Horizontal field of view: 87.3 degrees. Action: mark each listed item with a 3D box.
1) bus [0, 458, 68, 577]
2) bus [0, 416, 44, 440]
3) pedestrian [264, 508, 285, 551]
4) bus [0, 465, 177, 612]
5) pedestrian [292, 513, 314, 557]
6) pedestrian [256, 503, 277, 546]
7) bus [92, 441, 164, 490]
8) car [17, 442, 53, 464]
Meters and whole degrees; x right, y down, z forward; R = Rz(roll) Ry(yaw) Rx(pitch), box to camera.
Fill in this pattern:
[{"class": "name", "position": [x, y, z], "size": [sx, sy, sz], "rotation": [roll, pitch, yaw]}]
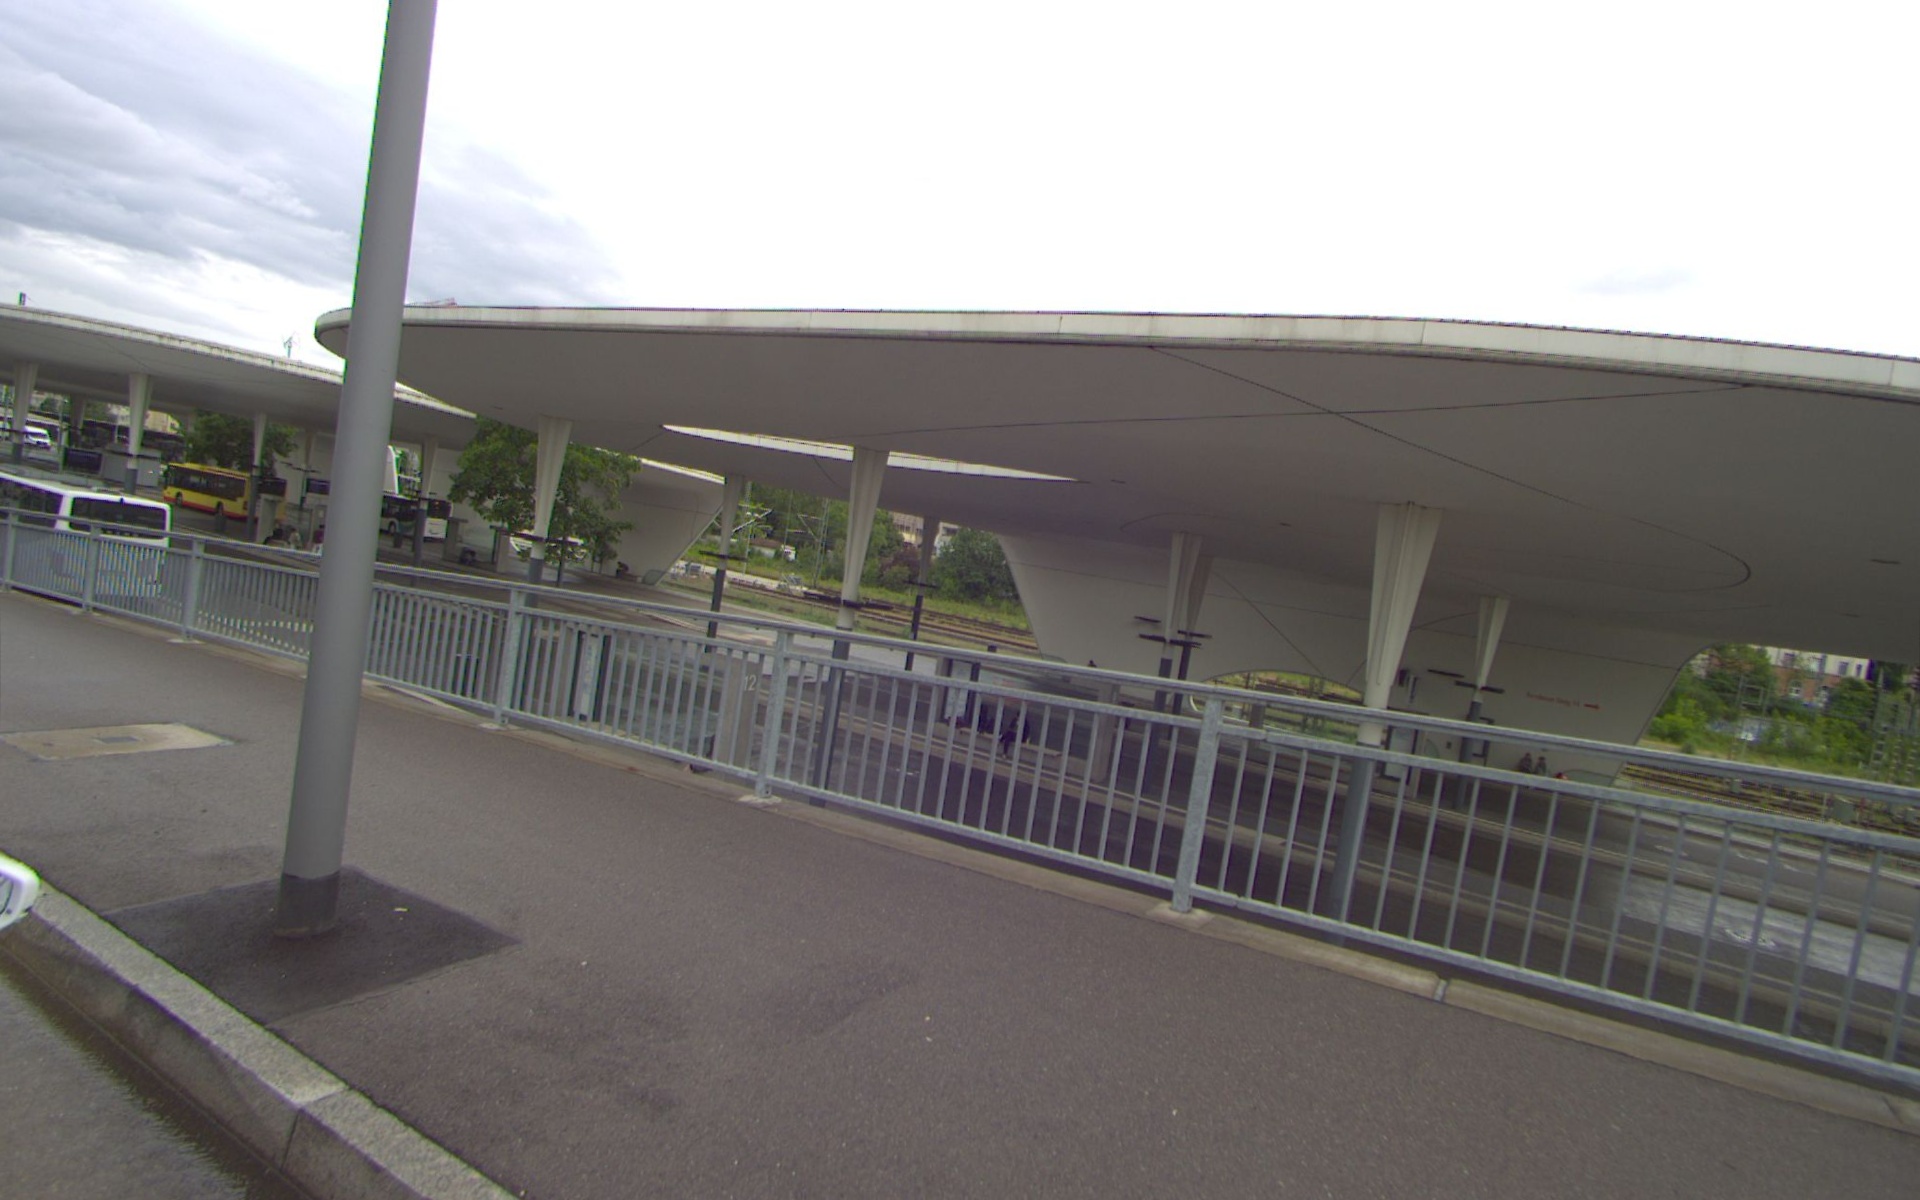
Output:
[{"class": "bus", "position": [-32.312, -3.018, 32.659], "size": [6.948, 3.279, 2.649], "rotation": [12, 4, 28]}, {"class": "bus", "position": [-118.861, -21.611, 122.866], "size": [2.132, 2.039, 10.183], "rotation": [8, 1, 29]}, {"class": "pedestrian", "position": [-33.855, -3.490, 49.660], "size": [0.570, 2.040, 0.544], "rotation": [8, 2, 33]}, {"class": "bus", "position": [-26.235, -1.899, 29.327], "size": [6.948, 3.279, 2.649], "rotation": [11, 3, 28]}, {"class": "pedestrian", "position": [-31.494, -3.110, 48.224], "size": [0.475, 2.040, 0.560], "rotation": [8, 2, 34]}, {"class": "pedestrian", "position": [-34.836, -3.794, 50.498], "size": [0.570, 2.040, 0.544], "rotation": [8, 2, 33]}, {"class": "bus", "position": [-68.612, -11.109, 82.924], "size": [6.880, 3.252, 2.601], "rotation": [9, 3, 34]}, {"class": "car", "position": [-108.299, -17.187, 117.770], "size": [3.933, 2.040, 1.995], "rotation": [9, 2, 31]}]
